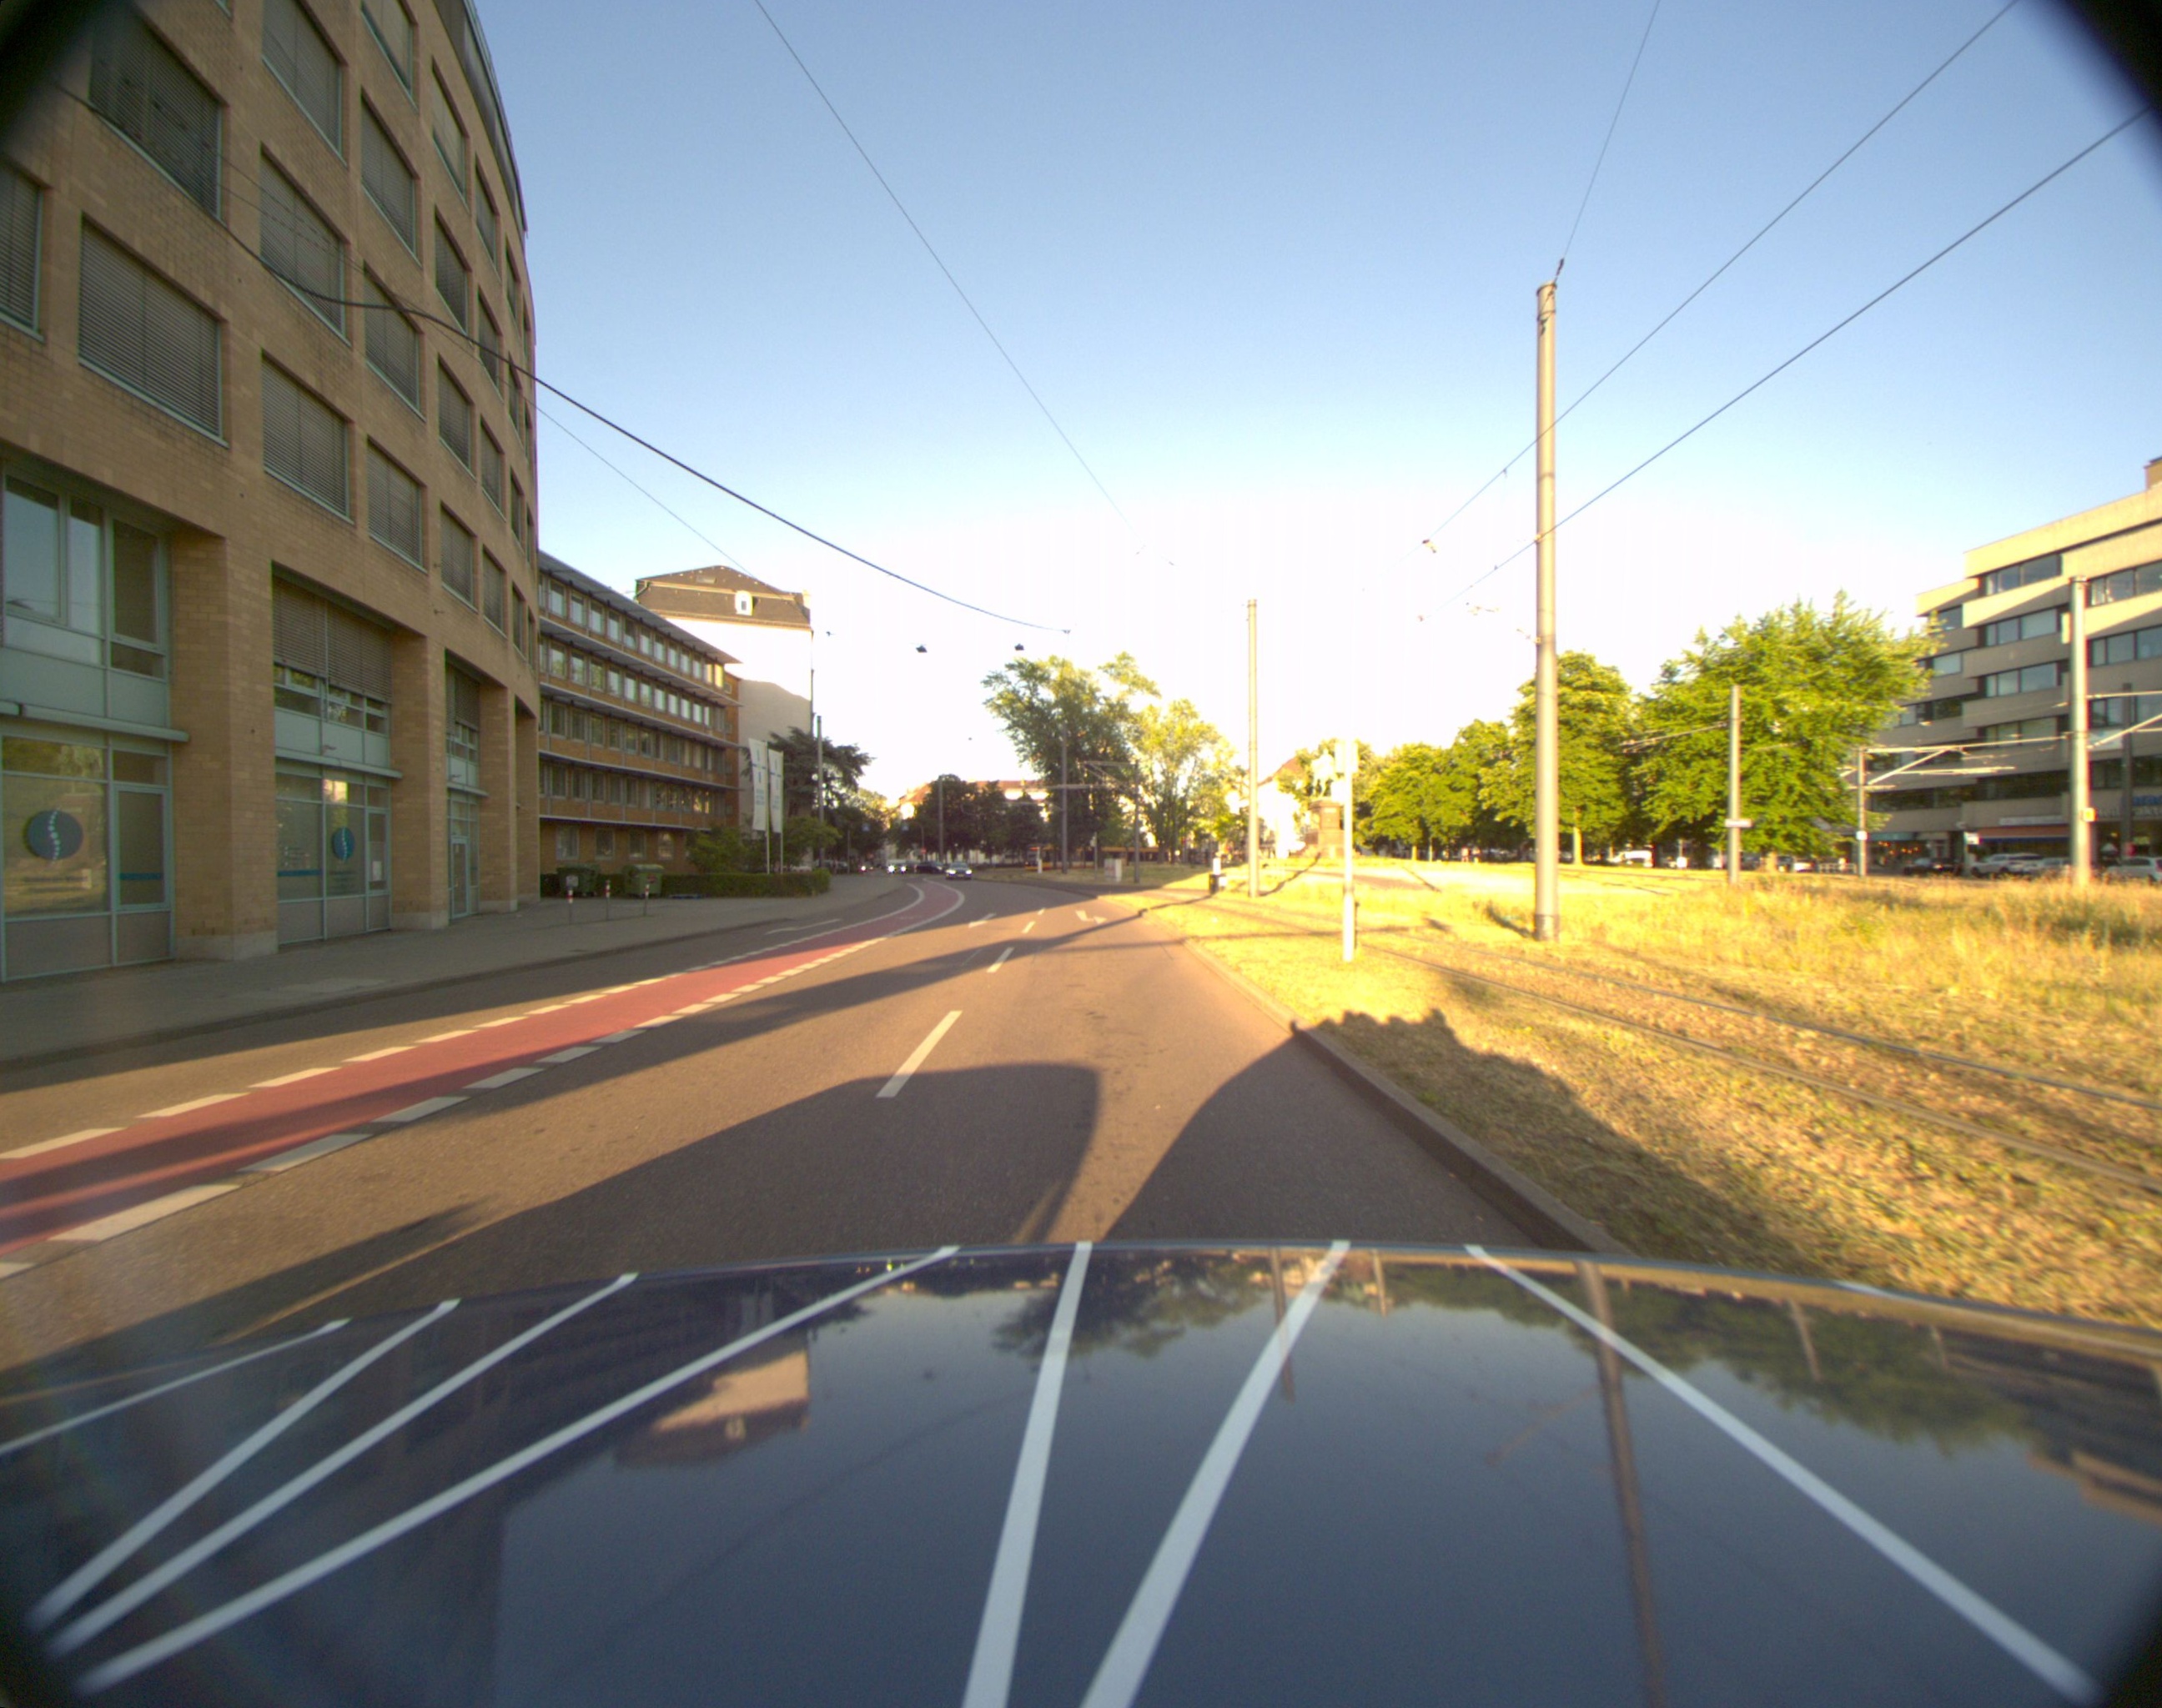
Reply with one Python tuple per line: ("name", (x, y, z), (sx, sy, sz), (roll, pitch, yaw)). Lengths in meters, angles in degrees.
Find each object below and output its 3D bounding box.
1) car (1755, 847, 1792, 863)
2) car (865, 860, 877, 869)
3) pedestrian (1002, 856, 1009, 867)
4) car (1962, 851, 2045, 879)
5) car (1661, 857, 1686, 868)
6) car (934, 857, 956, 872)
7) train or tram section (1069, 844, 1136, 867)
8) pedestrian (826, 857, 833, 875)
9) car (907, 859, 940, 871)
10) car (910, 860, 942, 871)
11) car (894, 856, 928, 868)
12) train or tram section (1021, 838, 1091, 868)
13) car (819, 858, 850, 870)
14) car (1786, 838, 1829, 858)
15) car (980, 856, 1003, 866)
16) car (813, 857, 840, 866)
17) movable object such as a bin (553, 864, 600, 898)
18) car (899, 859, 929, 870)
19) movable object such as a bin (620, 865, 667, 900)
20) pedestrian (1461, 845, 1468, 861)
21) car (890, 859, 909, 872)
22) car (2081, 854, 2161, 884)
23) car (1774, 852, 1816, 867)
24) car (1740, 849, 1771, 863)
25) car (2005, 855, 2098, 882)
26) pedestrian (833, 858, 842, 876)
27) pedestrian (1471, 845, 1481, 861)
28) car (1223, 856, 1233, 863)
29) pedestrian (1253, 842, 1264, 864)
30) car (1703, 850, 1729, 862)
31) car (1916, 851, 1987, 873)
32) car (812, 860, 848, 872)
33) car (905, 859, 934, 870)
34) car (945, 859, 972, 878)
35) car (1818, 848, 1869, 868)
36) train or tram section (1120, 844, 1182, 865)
("car", (76.737, 0.163, 84.262), (1.755, 1.653, 4.007), (-1, -1, 23))
("car", (-33.991, 1.748, 122.955), (1.822, 1.473, 4.131), (-1, -1, -14))
("pedestrian", (-11.568, 1.097, 116.991), (0.767, 1.705, 0.787), (-1, -1, 31))
("car", (61.474, 0.745, 50.738), (1.755, 1.784, 4.217), (-1, -1, 23))
("car", (85.777, 1.201, 110.006), (1.861, 1.547, 4.076), (-1, -1, 23))
("car", (-14.232, 1.139, 79.372), (1.822, 1.473, 4.130), (0, -1, -17))
("train or tram section", (3.285, 0.142, 107.357), (2.924, 3.123, 12.882), (-1, 0, 34))
("pedestrian", (-24.231, 1.152, 73.193), (0.578, 1.699, 0.720), (0, -1, -18))
("car", (-20.854, 1.487, 100.741), (4.067, 1.547, 1.865), (0, -1, -6))
("car", (-21.103, 1.552, 103.752), (4.067, 1.547, 1.865), (0, -1, -6))
("car", (-27.605, 1.340, 123.641), (5.078, 1.891, 2.122), (0, -1, 2))
("train or tram section", (-2.909, -0.159, 96.388), (2.943, 3.563, 13.389), (-1, 0, 25))
("car", (-33.421, 1.394, 103.028), (4.072, 1.560, 1.835), (0, -1, -19))
("car", (73.219, -0.598, 76.628), (1.755, 1.932, 4.217), (-1, -1, 23))
("car", (-16.108, 1.304, 136.426), (4.011, 1.714, 1.701), (0, -1, -1))
("car", (-44.798, 1.290, 133.578), (4.404, 1.603, 1.726), (0, -1, -22))
("movable object such as a bin", (-21.121, 1.120, 31.841), (1.345, 1.415, 0.923), (0, -1, -7))
("car", (-23.926, 1.503, 109.056), (4.067, 1.542, 1.999), (0, -1, -6))
("movable object such as a bin", (-18.082, 1.165, 31.424), (0.972, 1.429, 1.347), (-1, -1, 19))
("pedestrian", (37.846, -0.088, 74.948), (0.453, 1.503, 0.553), (0, -1, 2))
("car", (-22.077, 1.435, 92.391), (1.823, 1.473, 4.129), (0, -1, -19))
("car", (56.318, 0.782, 40.590), (1.755, 1.542, 4.007), (-1, -1, 23))
("car", (68.126, 0.546, 72.584), (1.707, 1.382, 4.008), (-1, -1, 25))
("car", (79.045, 0.219, 89.078), (1.793, 1.570, 4.008), (-1, -1, 27))
("car", (58.774, 0.885, 46.105), (1.755, 1.542, 4.007), (-1, -1, 23))
("pedestrian", (-24.952, 1.317, 77.796), (0.591, 1.781, 0.822), (0, -1, 11))
("pedestrian", (38.707, -0.133, 74.471), (0.619, 1.571, 0.553), (0, -1, 2))
("car", (33.459, 1.351, 172.881), (1.723, 1.542, 3.968), (0, -1, 1))
("pedestrian", (13.803, -0.059, 59.054), (0.476, 1.680, 0.835), (0, 0, -14))
("car", (84.042, 0.271, 100.584), (1.793, 1.570, 4.008), (-1, -1, 27))
("car", (64.578, 0.625, 56.475), (1.861, 1.547, 4.076), (-1, -1, 23))
("car", (-32.386, 1.597, 98.155), (4.403, 1.548, 1.835), (0, -1, -20))
("car", (-23.683, 1.523, 111.610), (4.067, 1.608, 1.999), (0, -1, -6))
("car", (-10.216, 1.195, 63.203), (1.822, 1.473, 4.131), (0, -1, -15))
("car", (70.834, 0.412, 70.684), (1.935, 1.784, 4.217), (-1, -1, 23))
("train or tram section", (10.934, 0.003, 117.445), (2.917, 3.123, 12.671), (-1, 1, 39))
